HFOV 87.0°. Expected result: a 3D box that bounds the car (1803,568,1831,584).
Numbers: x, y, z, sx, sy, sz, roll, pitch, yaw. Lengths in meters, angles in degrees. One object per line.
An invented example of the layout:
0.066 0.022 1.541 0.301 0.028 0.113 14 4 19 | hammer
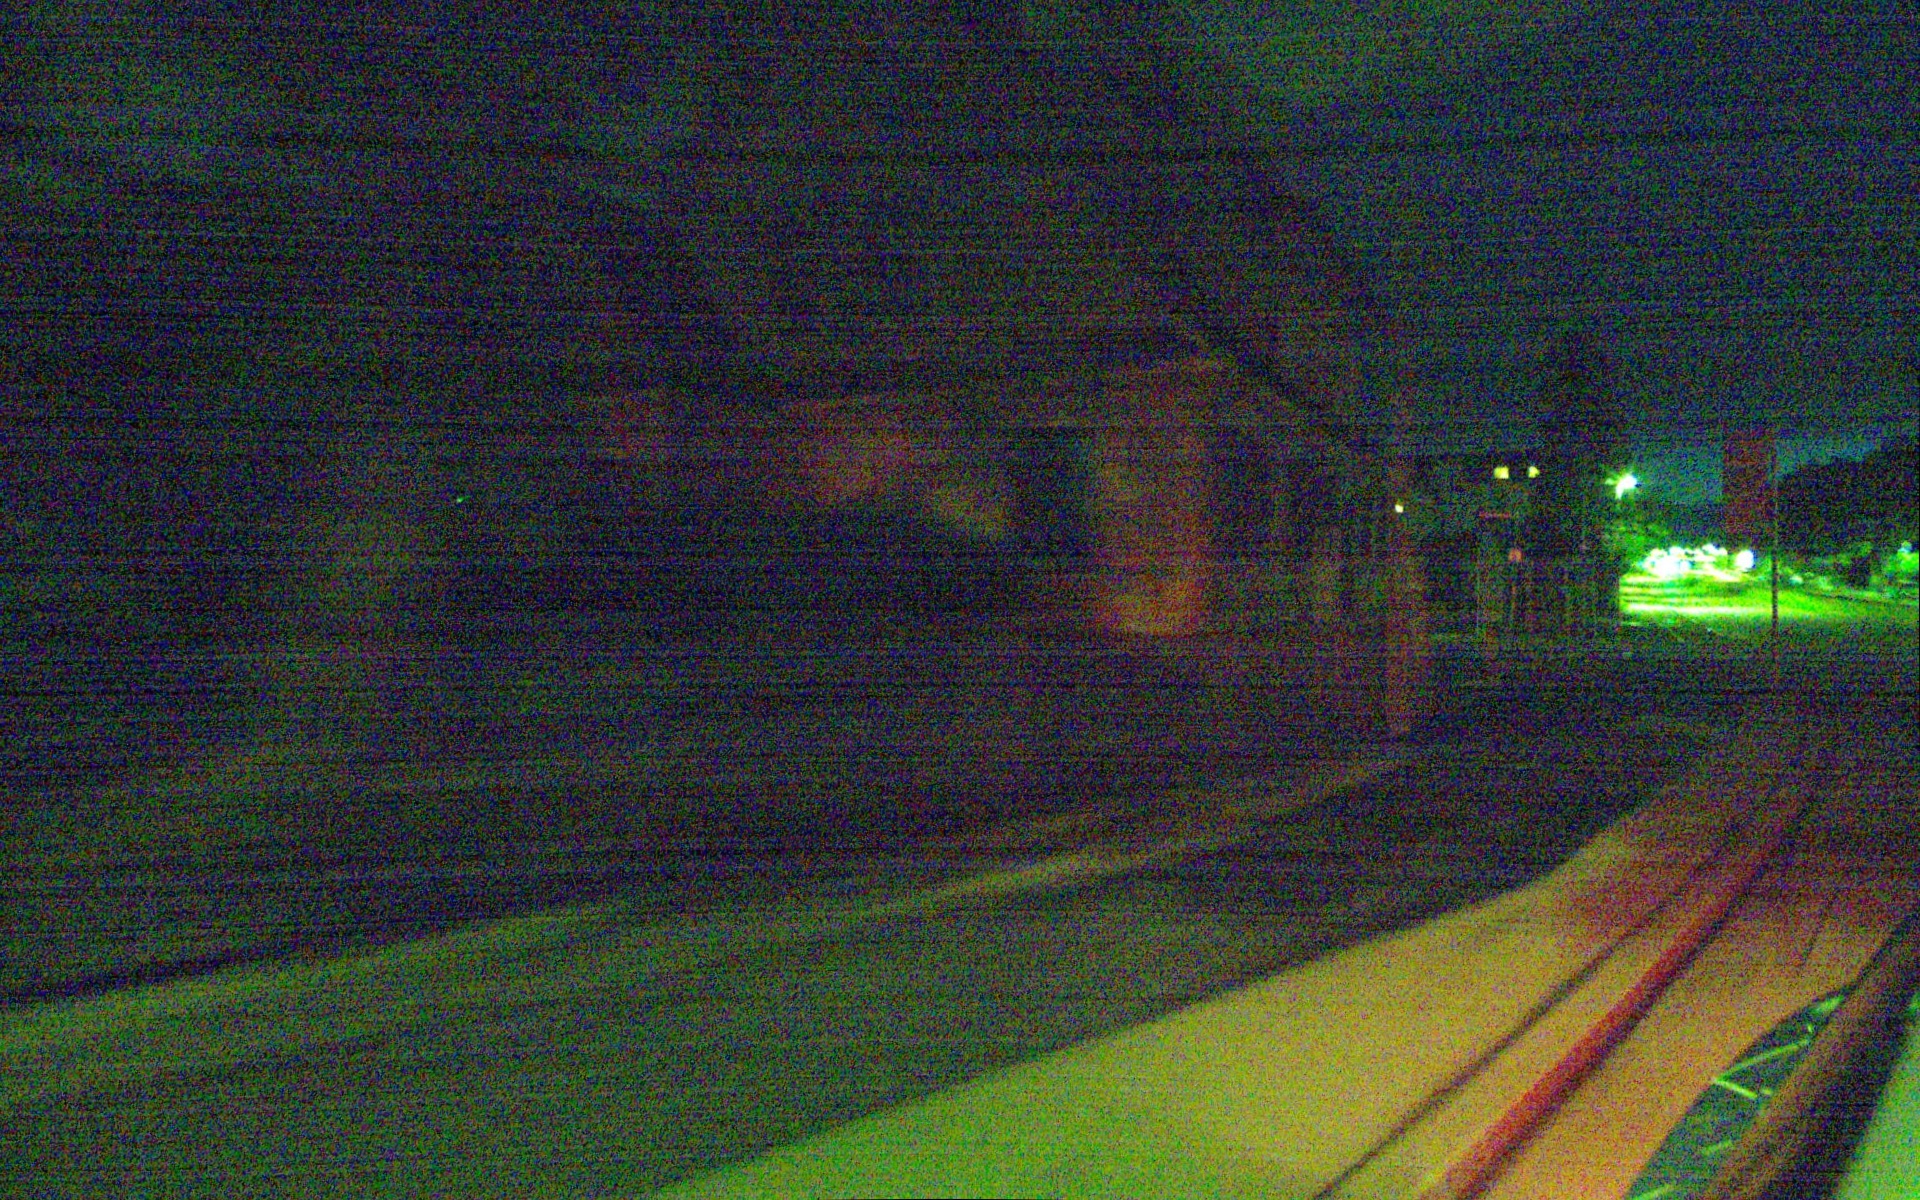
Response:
104.492 -2.951 123.412 2.114 1.792 4.661 4 5 35 | car

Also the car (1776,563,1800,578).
110.490 -3.975 135.105 2.114 1.792 4.661 4 5 35 | car

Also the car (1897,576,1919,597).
78.762 -1.065 83.094 1.758 1.586 4.638 6 5 33 | car

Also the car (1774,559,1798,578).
118.896 -4.568 145.672 2.154 2.542 4.661 4 4 35 | car
